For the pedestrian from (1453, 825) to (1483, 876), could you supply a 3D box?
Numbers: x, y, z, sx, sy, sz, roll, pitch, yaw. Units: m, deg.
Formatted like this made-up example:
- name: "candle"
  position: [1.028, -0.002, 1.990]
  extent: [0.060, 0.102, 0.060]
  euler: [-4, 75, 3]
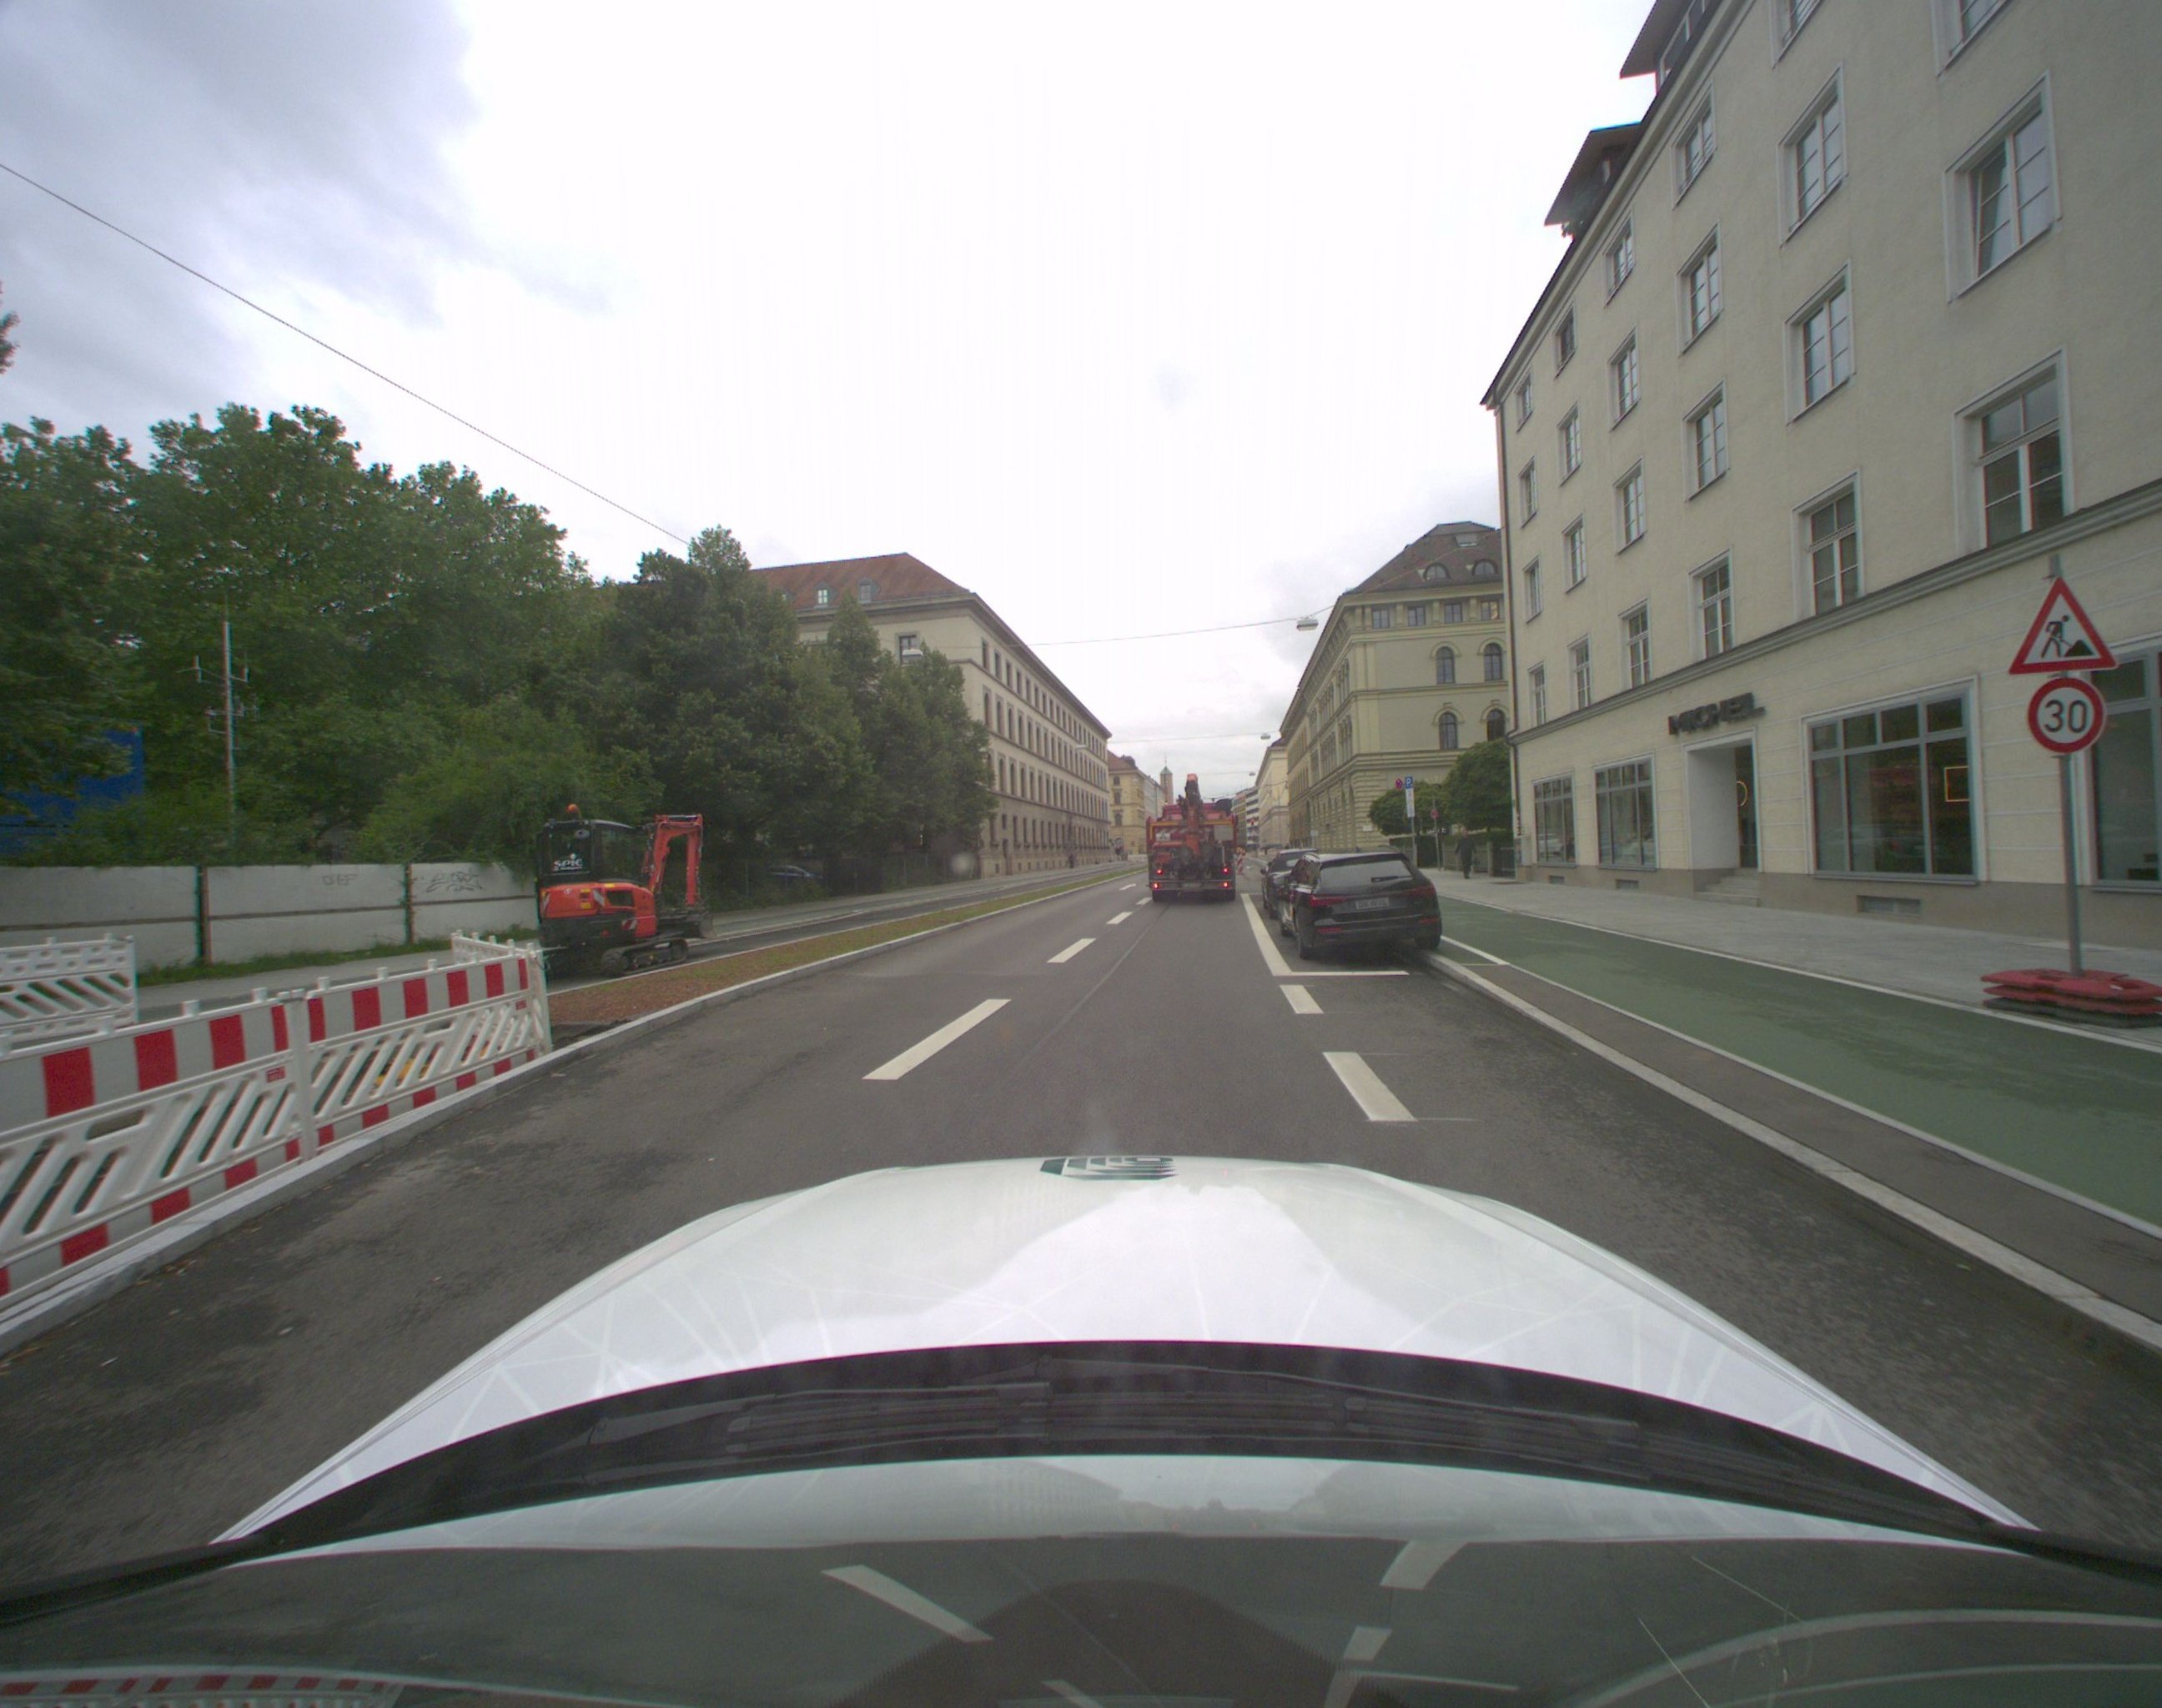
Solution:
- name: "pedestrian"
  position: [14.331, -0.134, 30.186]
  extent: [0.785, 1.836, 0.779]
  euler: [-3, 0, 11]

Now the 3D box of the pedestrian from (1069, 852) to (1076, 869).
- name: "pedestrian"
  position: [-0.925, 0.714, 90.562]
  extent: [0.585, 1.831, 0.500]
  euler: [-2, 0, 8]

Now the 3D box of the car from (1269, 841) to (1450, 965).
- name: "car"
  position: [4.007, 0.603, 12.521]
  extent: [1.791, 1.480, 4.699]
  euler: [-3, 0, 9]

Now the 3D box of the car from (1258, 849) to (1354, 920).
- name: "car"
  position: [5.041, 0.613, 18.721]
  extent: [1.670, 1.386, 4.439]
  euler: [-1, 0, 10]

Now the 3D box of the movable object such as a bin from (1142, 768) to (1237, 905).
- name: "movable object such as a bin"
  position: [3.361, -0.481, 24.737]
  extent: [2.409, 3.611, 5.866]
  euler: [-2, 0, 9]

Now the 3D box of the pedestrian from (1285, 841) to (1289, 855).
- name: "pedestrian"
  position: [25.507, -0.711, 100.915]
  extent: [0.335, 1.672, 0.441]
  euler: [-3, 0, 11]

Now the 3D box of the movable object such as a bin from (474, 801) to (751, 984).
- name: "movable object such as a bin"
  position: [-7.927, 0.574, 14.463]
  extent: [1.986, 2.641, 4.668]
  euler: [-3, 0, 2]

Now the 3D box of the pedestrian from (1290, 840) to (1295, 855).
- name: "pedestrian"
  position: [26.208, -0.825, 100.785]
  extent: [0.443, 1.836, 0.558]
  euler: [-3, 0, 11]

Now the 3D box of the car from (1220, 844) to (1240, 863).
- name: "car"
  position: [12.910, -0.048, 70.763]
  extent: [1.600, 1.495, 3.434]
  euler: [-3, 0, 10]

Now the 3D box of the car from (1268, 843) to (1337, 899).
- name: "car"
  position: [6.457, 0.455, 24.059]
  extent: [1.600, 1.495, 3.434]
  euler: [-3, 0, 10]
